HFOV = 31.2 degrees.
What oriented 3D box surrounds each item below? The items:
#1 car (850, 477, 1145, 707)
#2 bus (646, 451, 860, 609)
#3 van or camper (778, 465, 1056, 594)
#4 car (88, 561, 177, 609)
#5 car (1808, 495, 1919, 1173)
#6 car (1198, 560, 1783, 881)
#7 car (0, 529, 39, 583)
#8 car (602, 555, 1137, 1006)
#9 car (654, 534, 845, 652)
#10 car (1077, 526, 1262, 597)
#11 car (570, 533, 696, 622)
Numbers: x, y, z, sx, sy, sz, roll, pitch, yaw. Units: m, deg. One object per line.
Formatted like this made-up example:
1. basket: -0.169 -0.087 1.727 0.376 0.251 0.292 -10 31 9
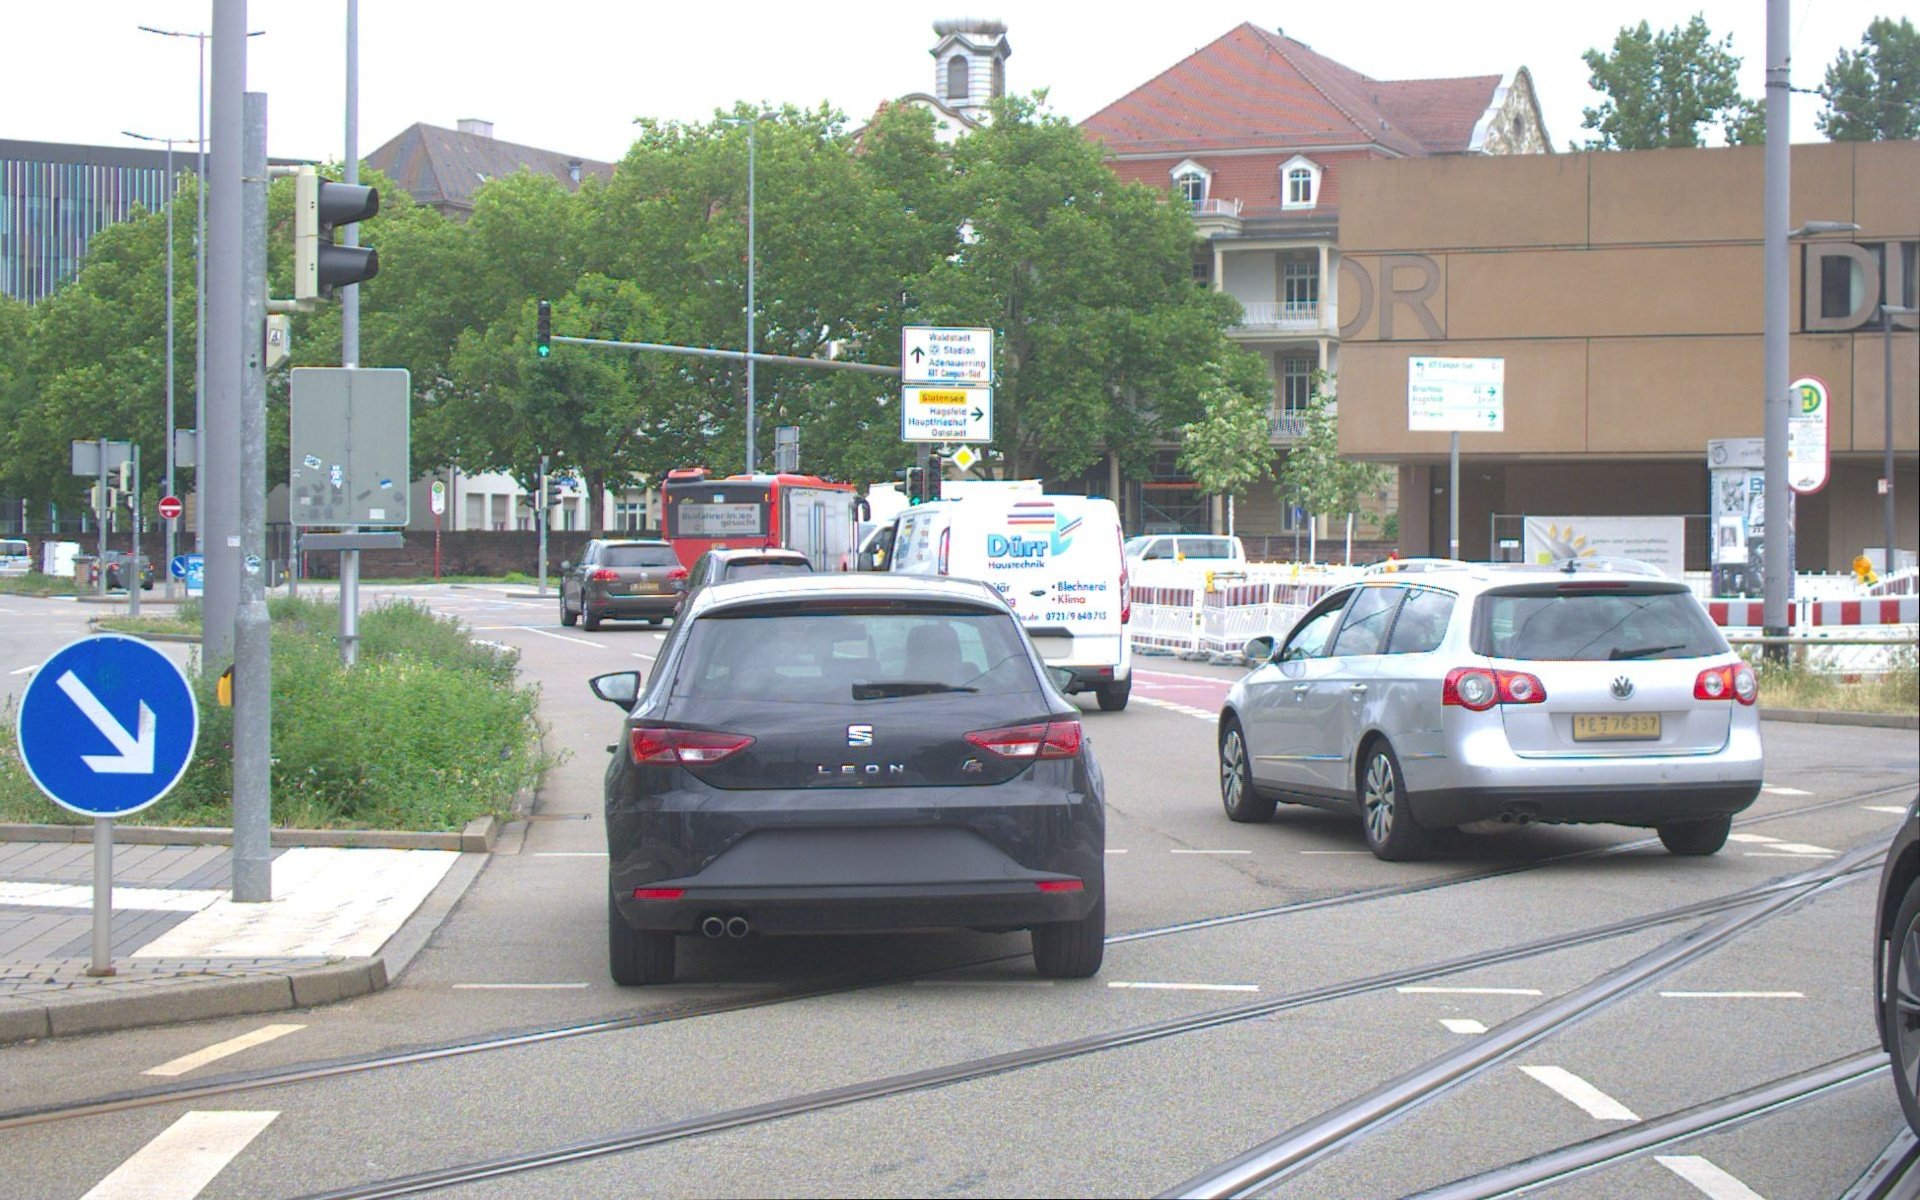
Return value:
1. car: 0.260 -0.088 32.999 1.993 2.012 5.033 1 0 -9
2. bus: -4.561 -1.485 78.725 3.059 3.286 12.377 1 0 5
3. van or camper: -1.143 -1.880 94.025 7.129 3.321 2.876 1 -1 -32
4. car: -29.534 -0.547 122.660 1.917 1.678 4.000 0 1 -32
5. car: 3.384 0.594 7.056 1.903 1.652 4.515 1 0 -4
6. car: 2.629 0.525 18.230 1.720 1.477 4.630 0 1 -9
7. car: -36.805 -1.674 131.299 1.994 2.007 4.000 0 1 -34
8. car: -0.488 0.561 13.182 1.745 1.459 4.001 0 1 -6
9. car: -3.065 -0.113 49.354 1.857 1.595 4.206 1 0 -16
10. car: 5.988 -1.083 98.220 4.988 1.858 2.000 1 -3 -31
11. car: -6.080 -0.419 63.550 1.993 1.560 4.206 1 0 -9
